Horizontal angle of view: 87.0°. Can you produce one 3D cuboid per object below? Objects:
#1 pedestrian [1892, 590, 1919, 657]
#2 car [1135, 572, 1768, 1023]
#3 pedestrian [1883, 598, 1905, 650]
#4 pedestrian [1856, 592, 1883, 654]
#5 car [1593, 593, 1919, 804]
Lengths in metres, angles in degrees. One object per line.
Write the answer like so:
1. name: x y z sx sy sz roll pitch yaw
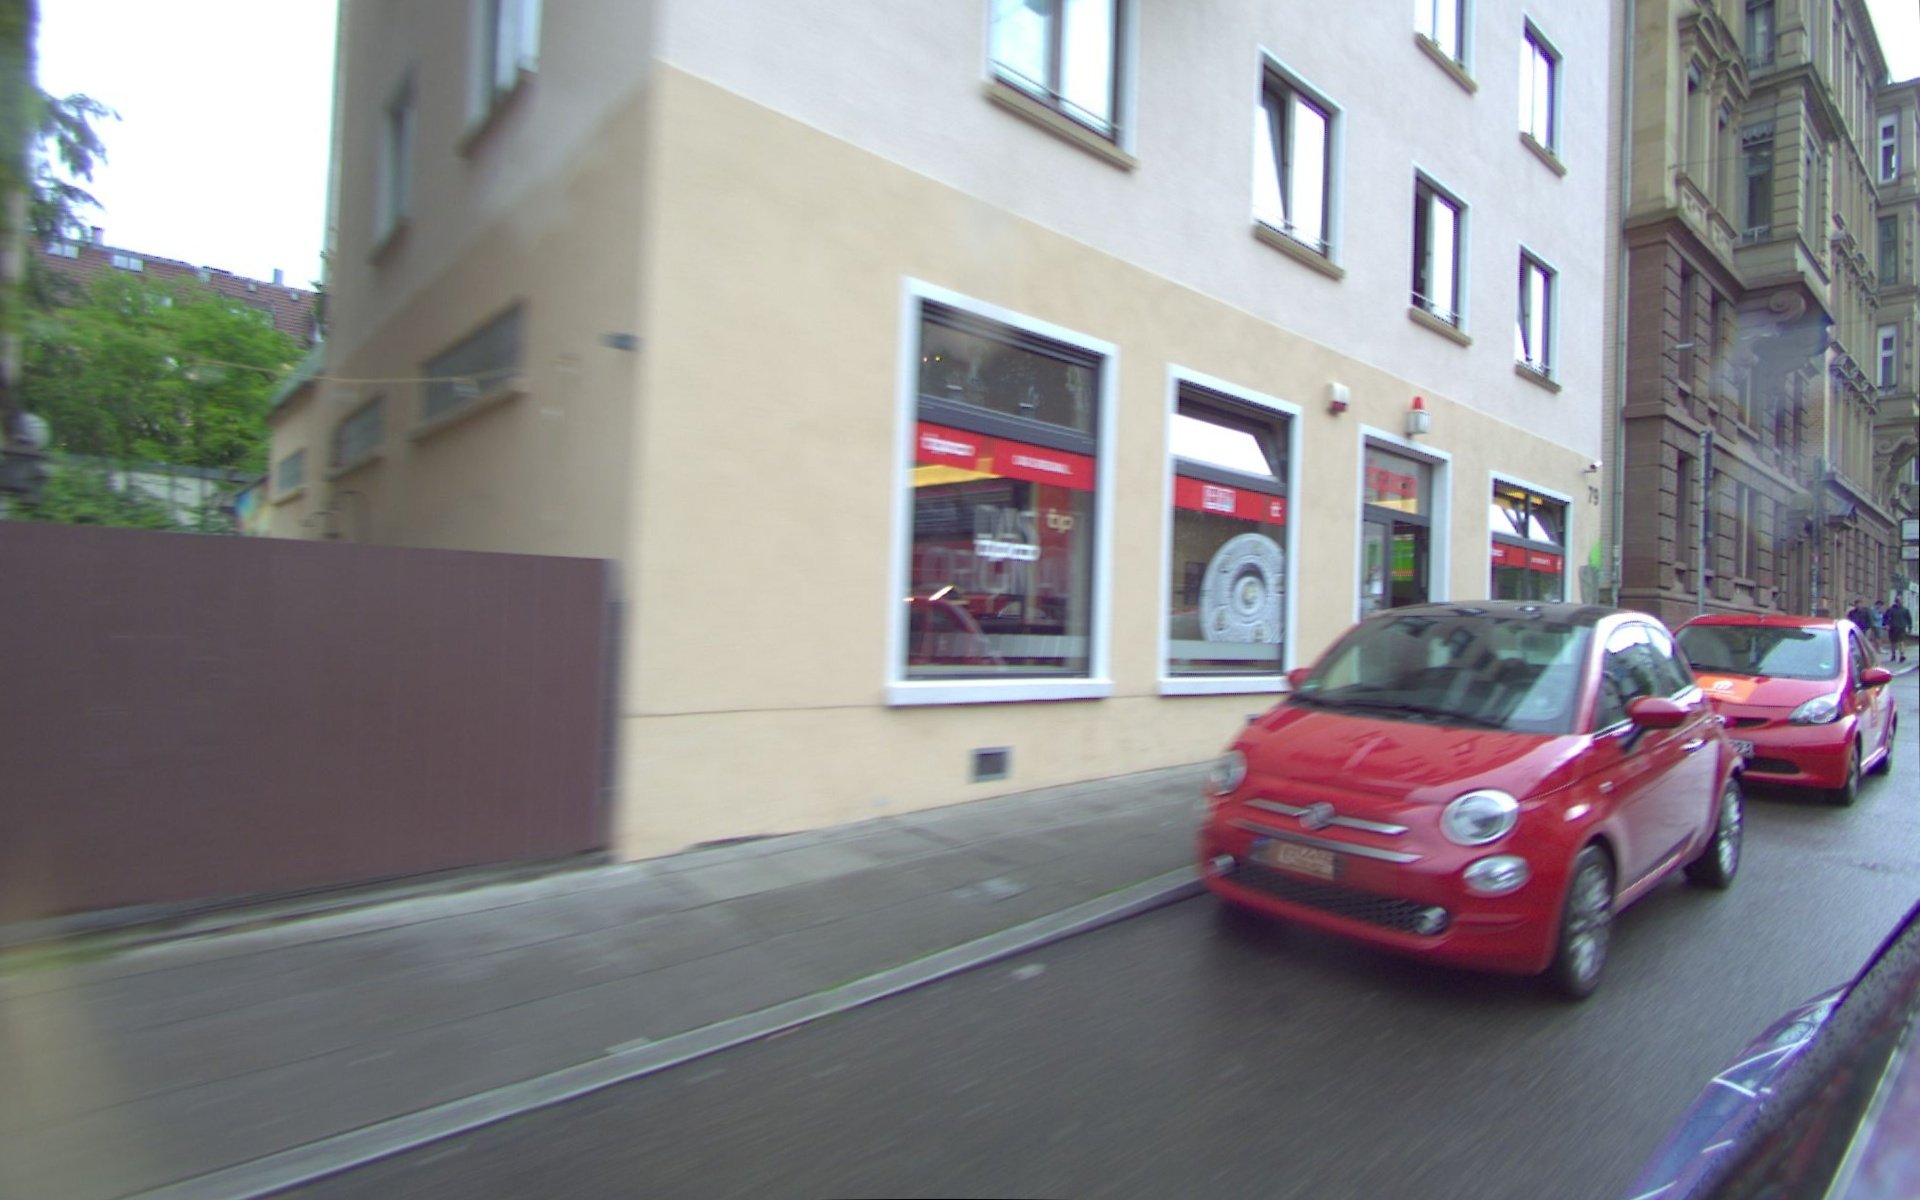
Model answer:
1. pedestrian: 25.998 0.642 27.702 0.868 1.784 0.652 0 1 -45
2. car: 2.602 0.636 5.061 3.354 1.480 1.648 0 1 -41
3. pedestrian: 30.300 0.772 32.834 0.456 1.665 0.484 0 1 -45
4. pedestrian: 25.238 0.632 28.071 0.621 1.665 0.488 0 1 -45
5. car: 7.216 0.707 9.041 3.384 1.480 1.719 0 1 -41
